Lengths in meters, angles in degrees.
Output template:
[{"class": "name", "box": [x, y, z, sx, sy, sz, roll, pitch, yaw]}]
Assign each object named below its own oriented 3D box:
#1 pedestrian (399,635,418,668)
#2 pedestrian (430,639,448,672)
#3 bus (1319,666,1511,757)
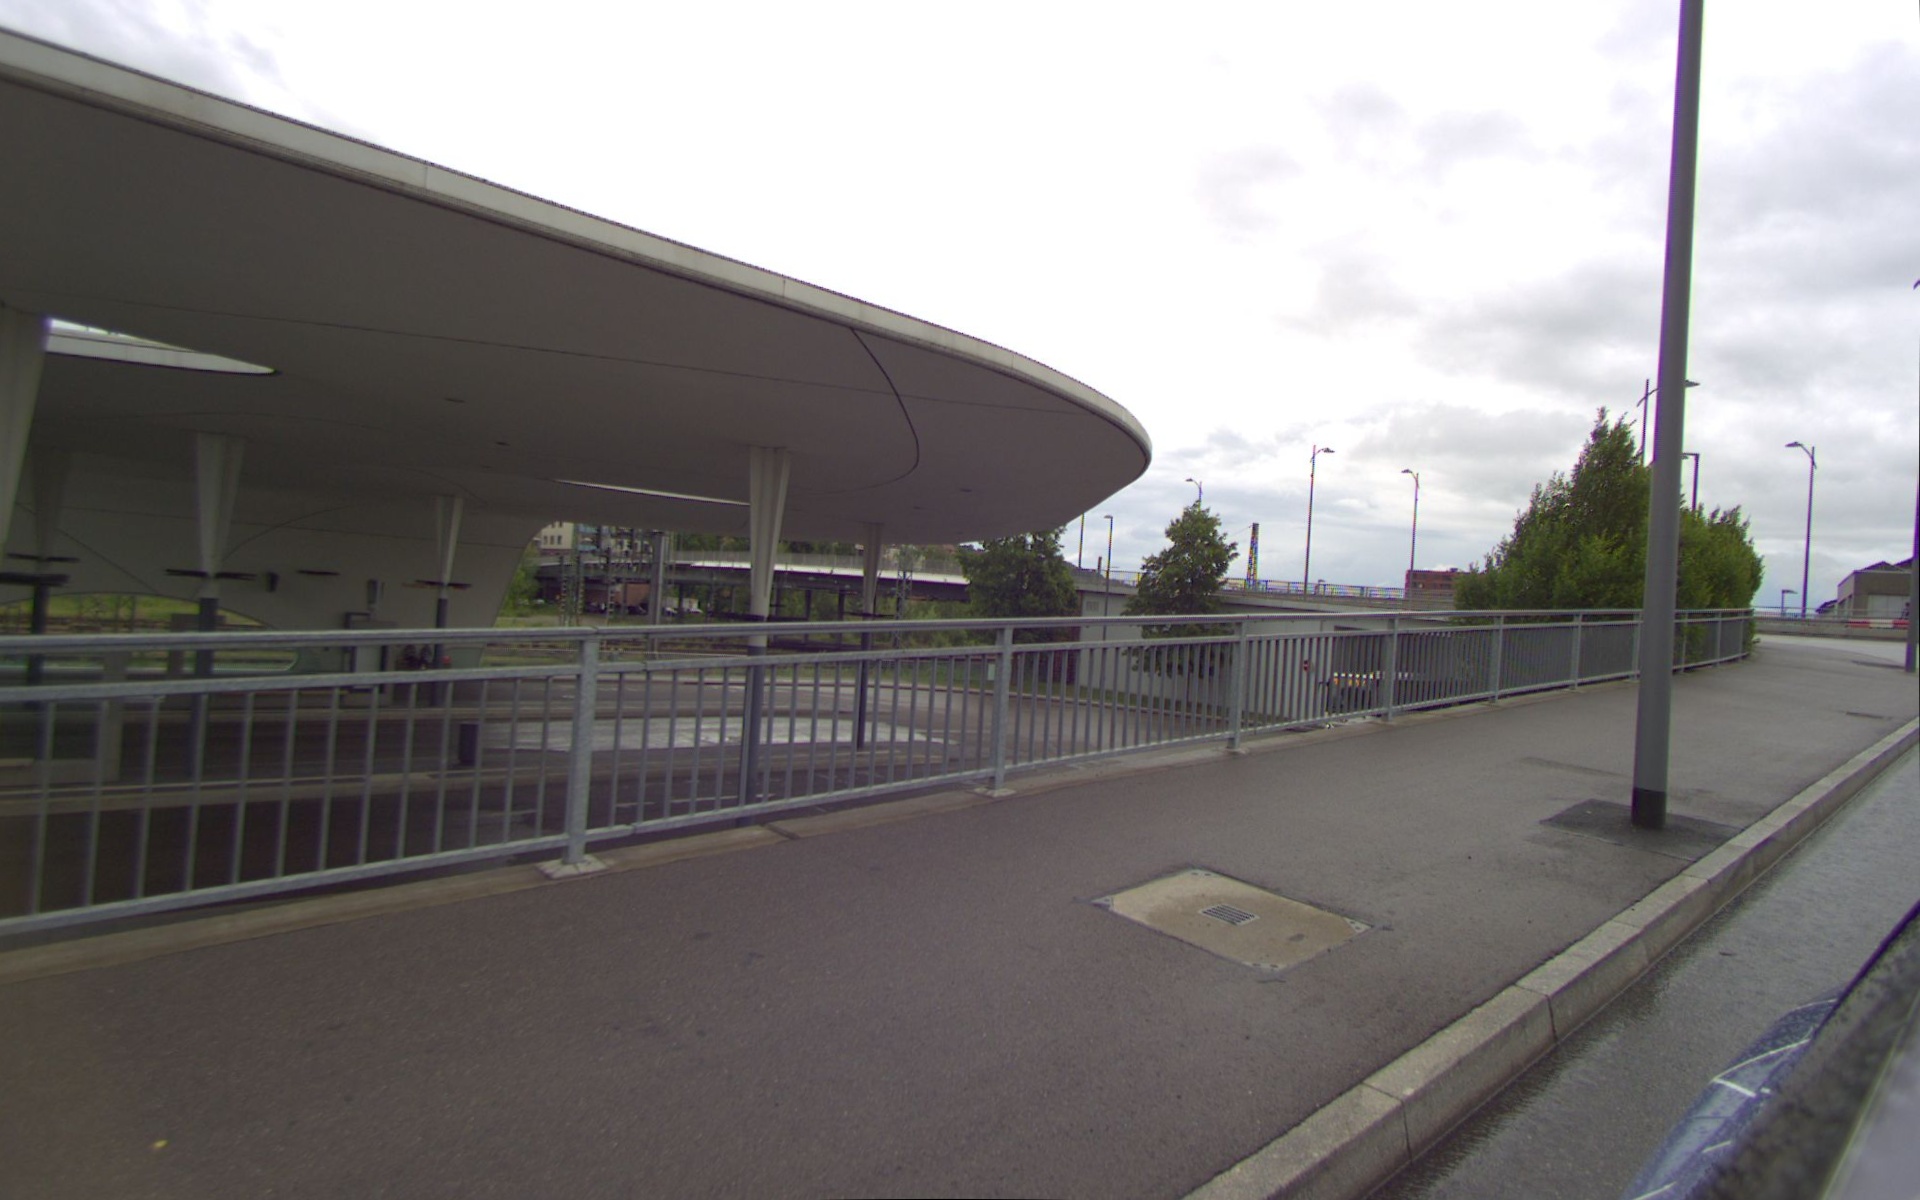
[{"class": "pedestrian", "box": [-21.980, 2.049, 40.342, 0.575, 1.286, 0.568, 0, 0, -38]}, {"class": "pedestrian", "box": [-21.114, 2.231, 41.027, 0.536, 1.296, 0.568, 0, 0, -38]}, {"class": "bus", "box": [22.291, 5.186, 49.102, 11.910, 3.298, 2.797, -1, 0, -35]}]
